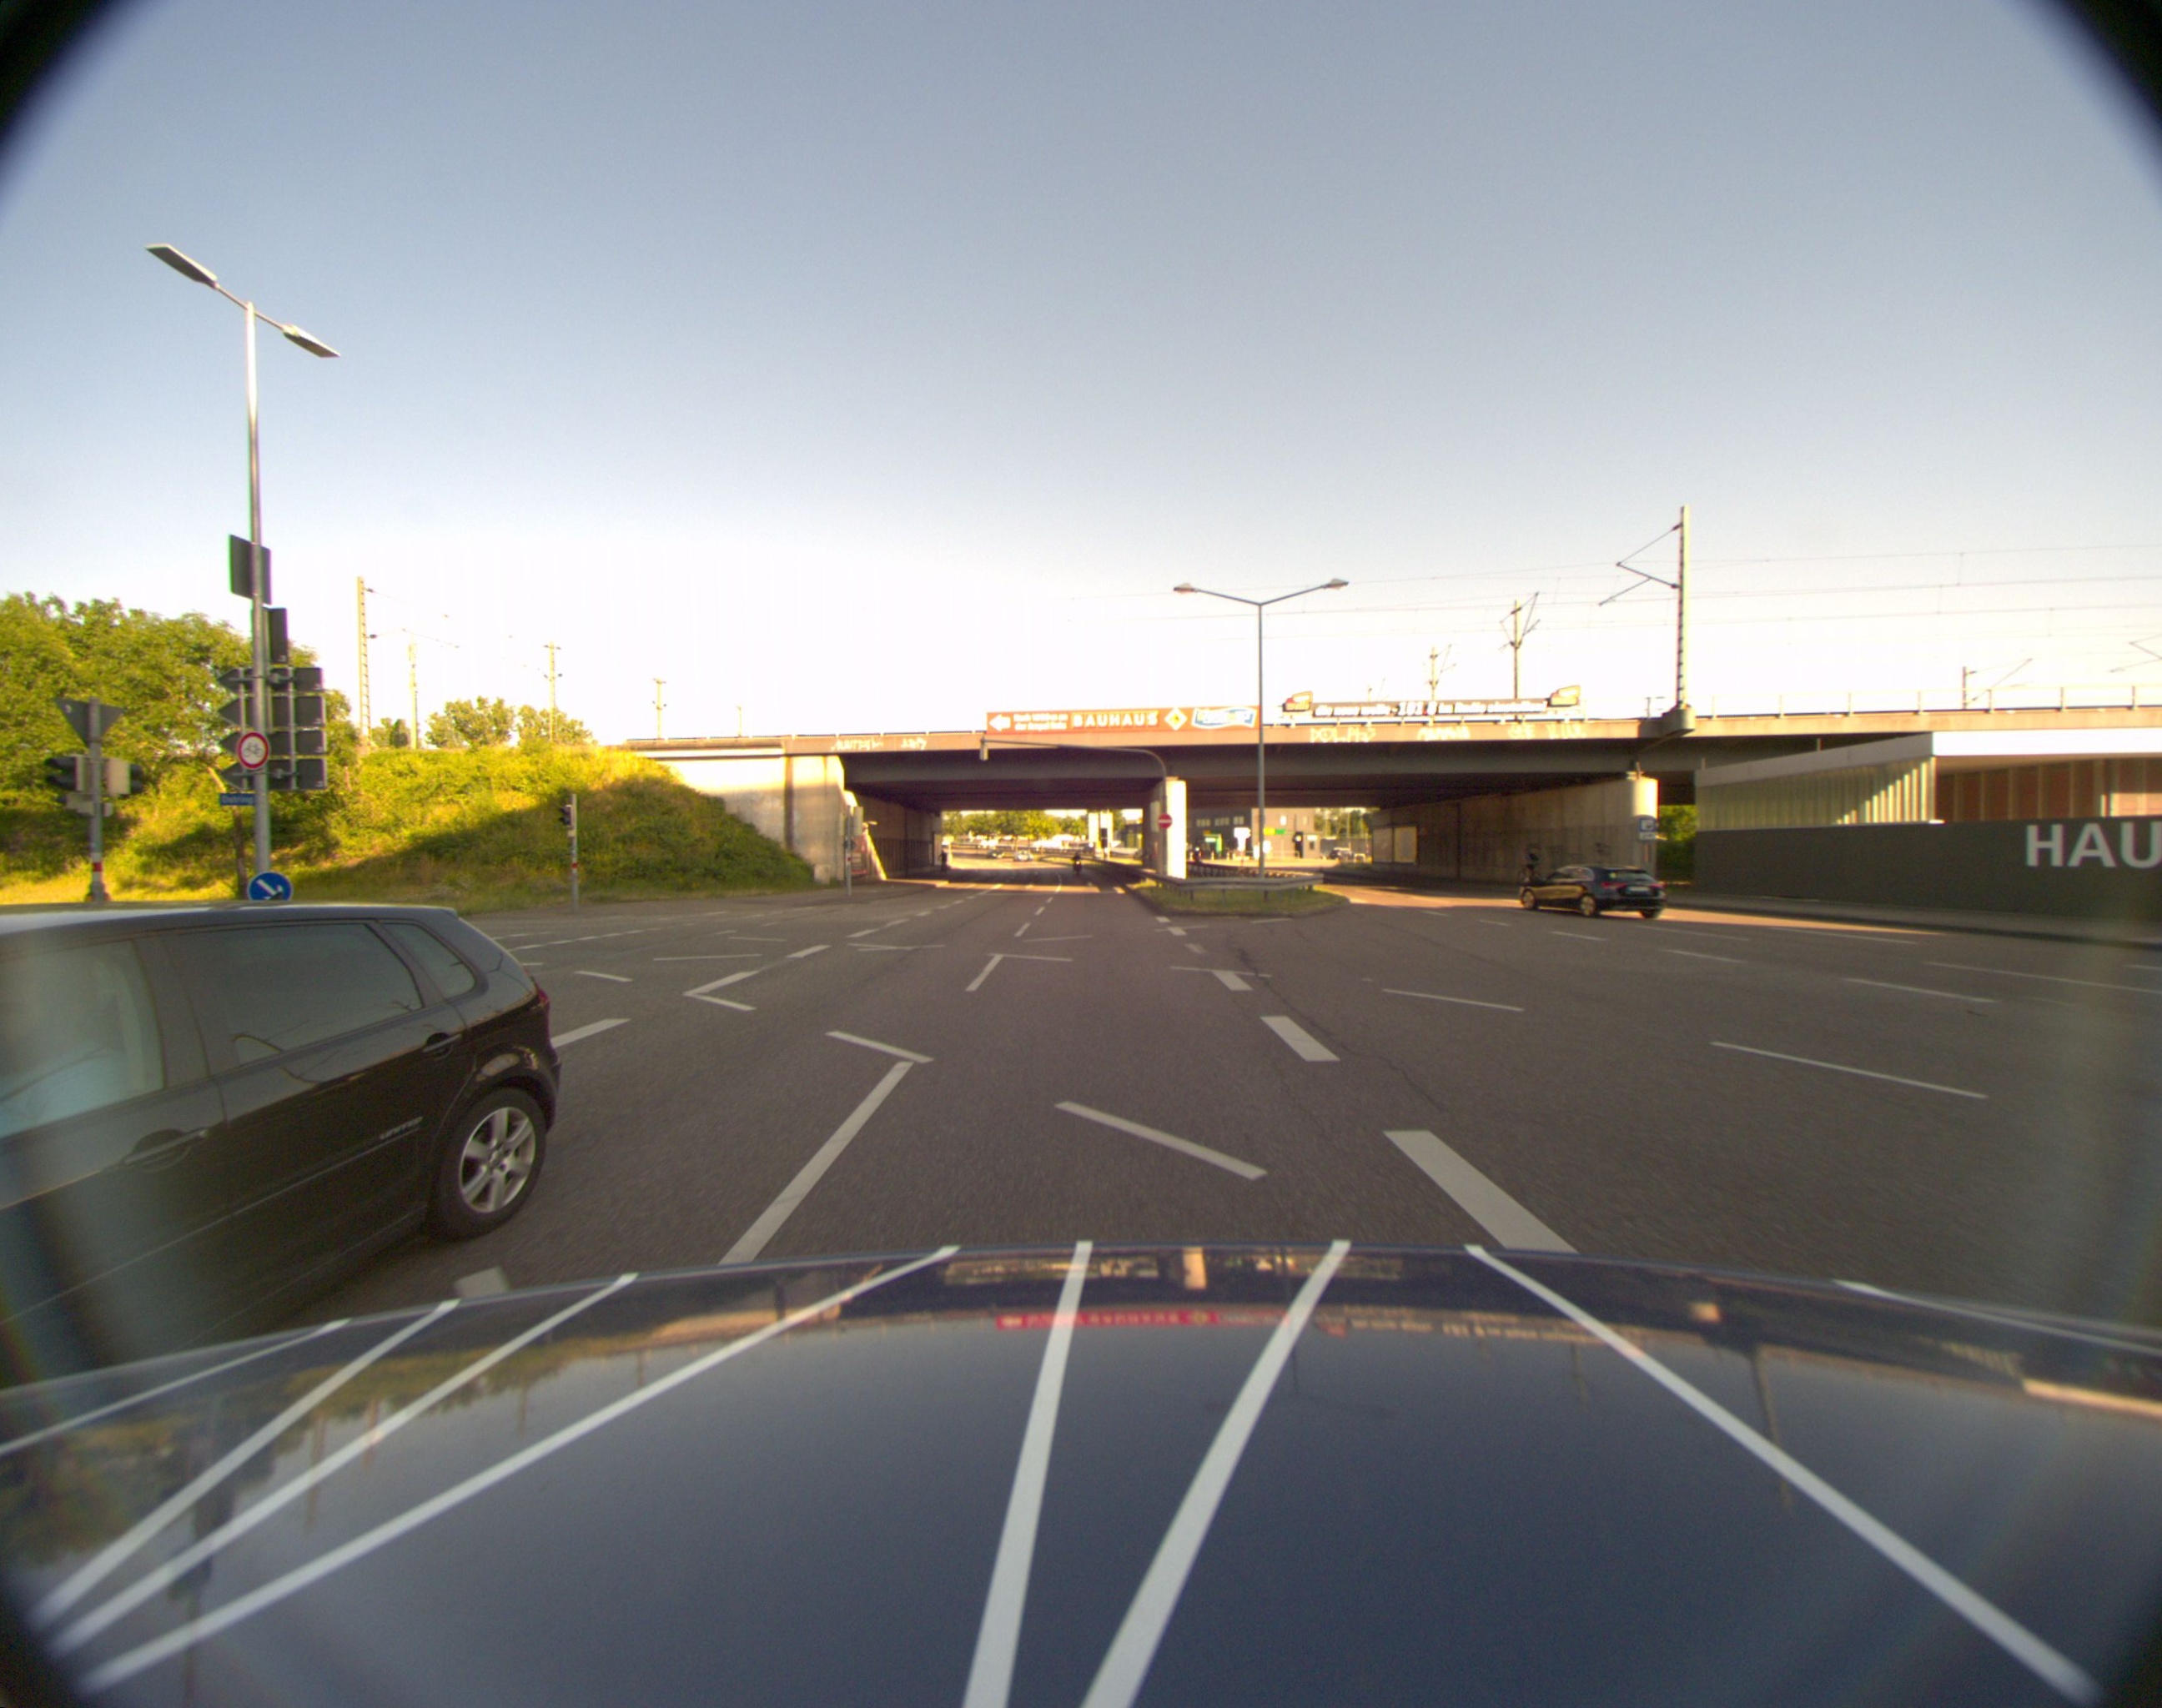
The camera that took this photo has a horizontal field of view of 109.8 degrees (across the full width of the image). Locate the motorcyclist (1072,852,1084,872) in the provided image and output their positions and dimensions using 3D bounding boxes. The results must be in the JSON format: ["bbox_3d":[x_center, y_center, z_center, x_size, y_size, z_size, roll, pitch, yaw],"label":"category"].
[{"bbox_3d":[-0.204,0.576,56.423,0.839,1.434,0.878,-2,2,0],"label":"motorcyclist"}]

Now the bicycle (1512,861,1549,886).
[{"bbox_3d":[22.013,0.928,37.271,0.706,1.149,2.082,-2,0,5],"label":"bicycle"}]

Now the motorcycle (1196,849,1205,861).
[{"bbox_3d":[11.732,0.071,74.752,0.682,1.150,2.239,-2,1,4],"label":"motorcycle"}]

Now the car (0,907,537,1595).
[{"bbox_3d":[-3.270,1.001,1.570,1.621,1.402,3.681,-2,1,-1],"label":"car"}]

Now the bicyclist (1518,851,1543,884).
[{"bbox_3d":[21.980,0.642,37.178,0.726,1.555,0.939,-2,2,5],"label":"bicyclist"}]

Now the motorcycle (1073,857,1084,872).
[{"bbox_3d":[-0.184,0.766,56.425,0.811,1.040,2.353,-2,1,1],"label":"motorcycle"}]

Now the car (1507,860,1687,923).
[{"bbox_3d":[14.288,0.966,21.422,1.999,1.393,4.347,3,1,-1],"label":"car"}]

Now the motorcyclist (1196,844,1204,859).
[{"bbox_3d":[11.692,-0.214,74.738,0.683,1.416,0.867,-2,2,4],"label":"motorcyclist"}]

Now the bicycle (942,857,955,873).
[{"bbox_3d":[-9.459,0.772,54.306,0.783,1.051,2.494,-2,1,-8],"label":"bicycle"}]

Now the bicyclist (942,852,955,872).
[{"bbox_3d":[-9.471,0.577,54.374,0.843,1.413,1.113,-2,2,-8],"label":"bicyclist"}]
